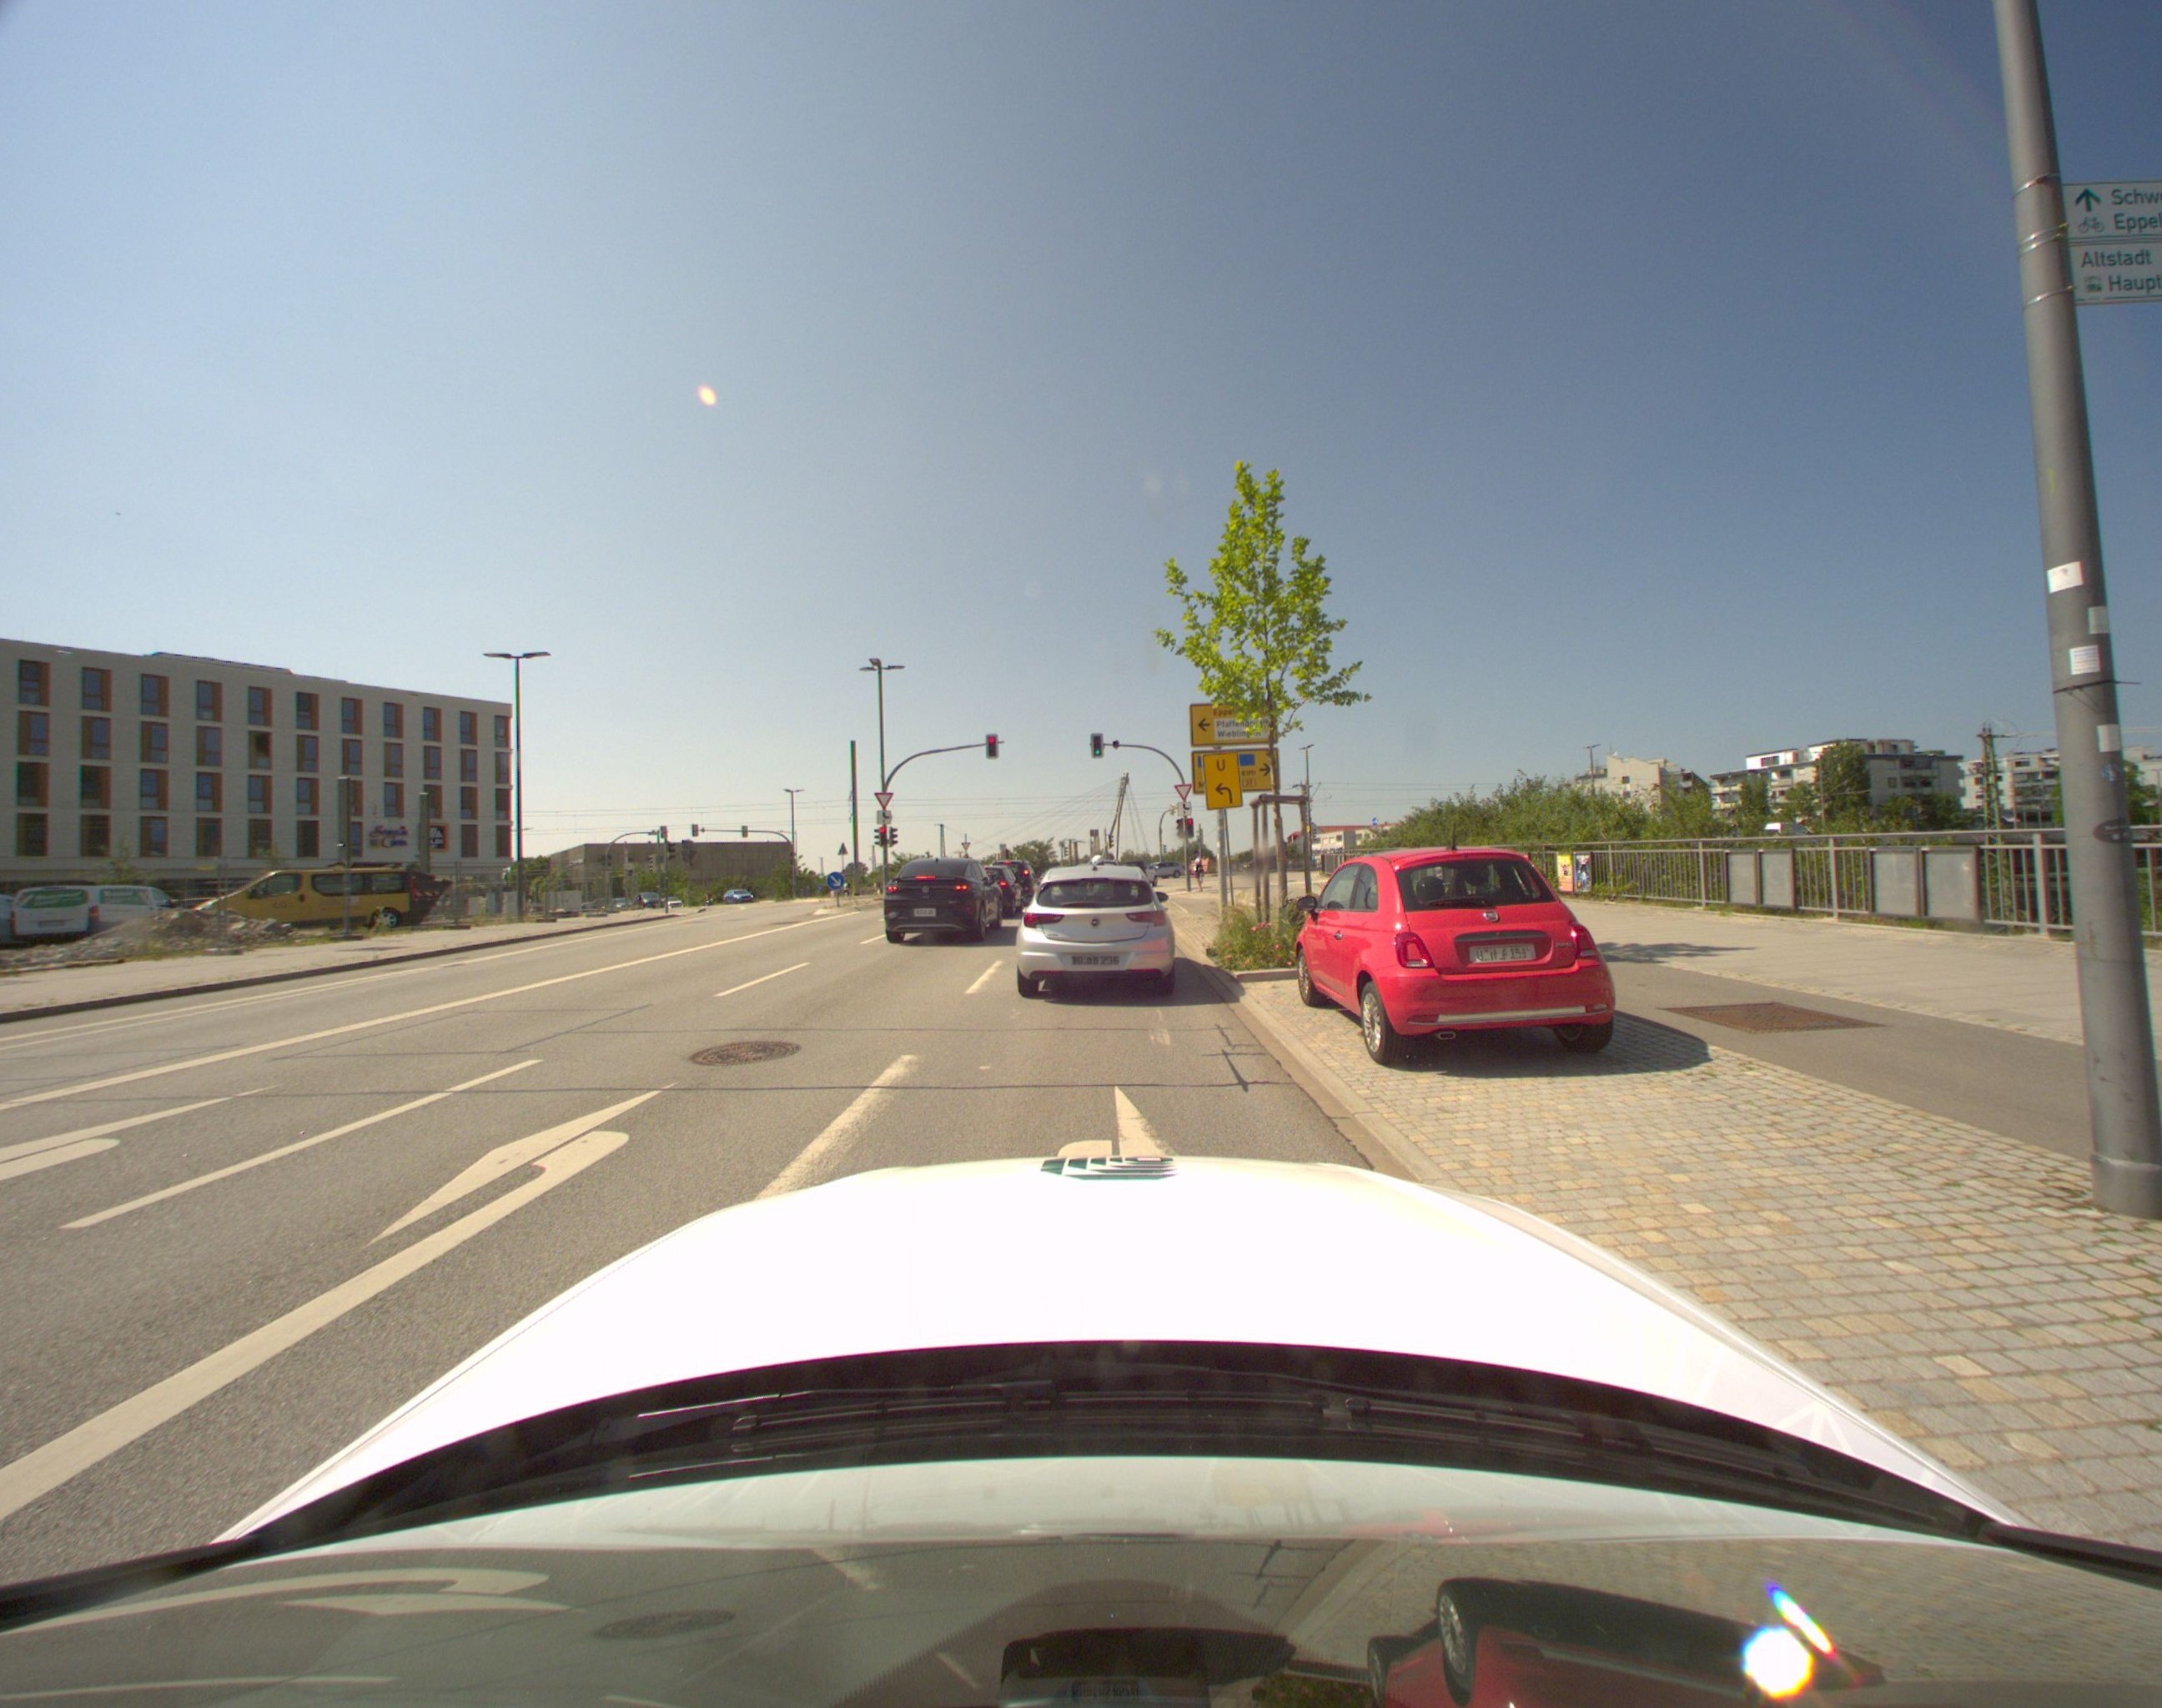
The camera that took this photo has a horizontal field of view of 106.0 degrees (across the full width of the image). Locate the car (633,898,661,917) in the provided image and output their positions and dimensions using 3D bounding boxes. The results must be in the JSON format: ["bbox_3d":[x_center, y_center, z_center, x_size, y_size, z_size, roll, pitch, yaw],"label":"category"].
[{"bbox_3d":[-38.438,4.751,72.119,1.686,1.476,3.368,-2,0,-36],"label":"car"}]

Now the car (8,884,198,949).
[{"bbox_3d":[-31.021,1.890,26.072,1.873,1.774,4.619,0,-1,-22],"label":"car"}]

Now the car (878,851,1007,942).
[{"bbox_3d":[-2.700,0.807,16.901,1.795,1.641,4.367,0,-1,2],"label":"car"}]

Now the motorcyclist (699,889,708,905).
[{"bbox_3d":[-38.198,4.350,82.419,0.756,1.494,0.670,0,-2,-35],"label":"motorcyclist"}]

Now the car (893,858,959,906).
[{"bbox_3d":[-5.366,0.948,28.520,1.592,1.547,3.761,0,-1,0],"label":"car"}]

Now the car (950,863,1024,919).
[{"bbox_3d":[-2.580,0.990,23.113,1.569,1.434,3.786,0,-1,1],"label":"car"}]

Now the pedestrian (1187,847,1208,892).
[{"bbox_3d":[4.935,0.660,34.505,0.645,1.836,0.798,-3,-1,0],"label":"pedestrian"}]

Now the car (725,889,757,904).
[{"bbox_3d":[-32.705,4.100,78.296,1.831,1.331,3.954,0,-3,-38],"label":"car"}]

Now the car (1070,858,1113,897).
[{"bbox_3d":[0.511,0.967,35.592,1.717,1.564,4.002,0,0,2],"label":"car"}]

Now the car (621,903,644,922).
[{"bbox_3d":[-43.334,5.638,78.616,1.578,1.587,3.441,0,-1,-35],"label":"car"}]

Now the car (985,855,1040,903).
[{"bbox_3d":[-2.385,0.865,29.161,1.644,1.615,3.819,0,-1,0],"label":"car"}]

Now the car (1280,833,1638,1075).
[{"bbox_3d":[2.881,0.670,7.026,1.603,1.496,3.355,-4,-1,3],"label":"car"}]

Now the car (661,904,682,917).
[{"bbox_3d":[-47.179,6.472,93.797,1.617,1.339,2.891,0,-1,-38],"label":"car"}]

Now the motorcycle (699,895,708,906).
[{"bbox_3d":[-38.171,4.694,82.365,0.523,0.955,1.913,0,-1,-35],"label":"motorcycle"}]

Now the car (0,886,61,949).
[{"bbox_3d":[-33.497,1.934,24.632,1.794,1.857,3.818,0,-1,-26],"label":"car"}]

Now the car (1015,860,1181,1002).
[{"bbox_3d":[0.167,0.841,10.585,1.737,1.478,3.998,0,-1,-1],"label":"car"}]

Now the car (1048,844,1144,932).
[{"bbox_3d":[0.387,0.702,19.056,1.986,1.820,4.404,0,0,2],"label":"car"}]

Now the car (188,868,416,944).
[{"bbox_3d":[-22.642,1.414,23.838,1.964,1.962,4.655,-1,-1,41],"label":"car"}]
